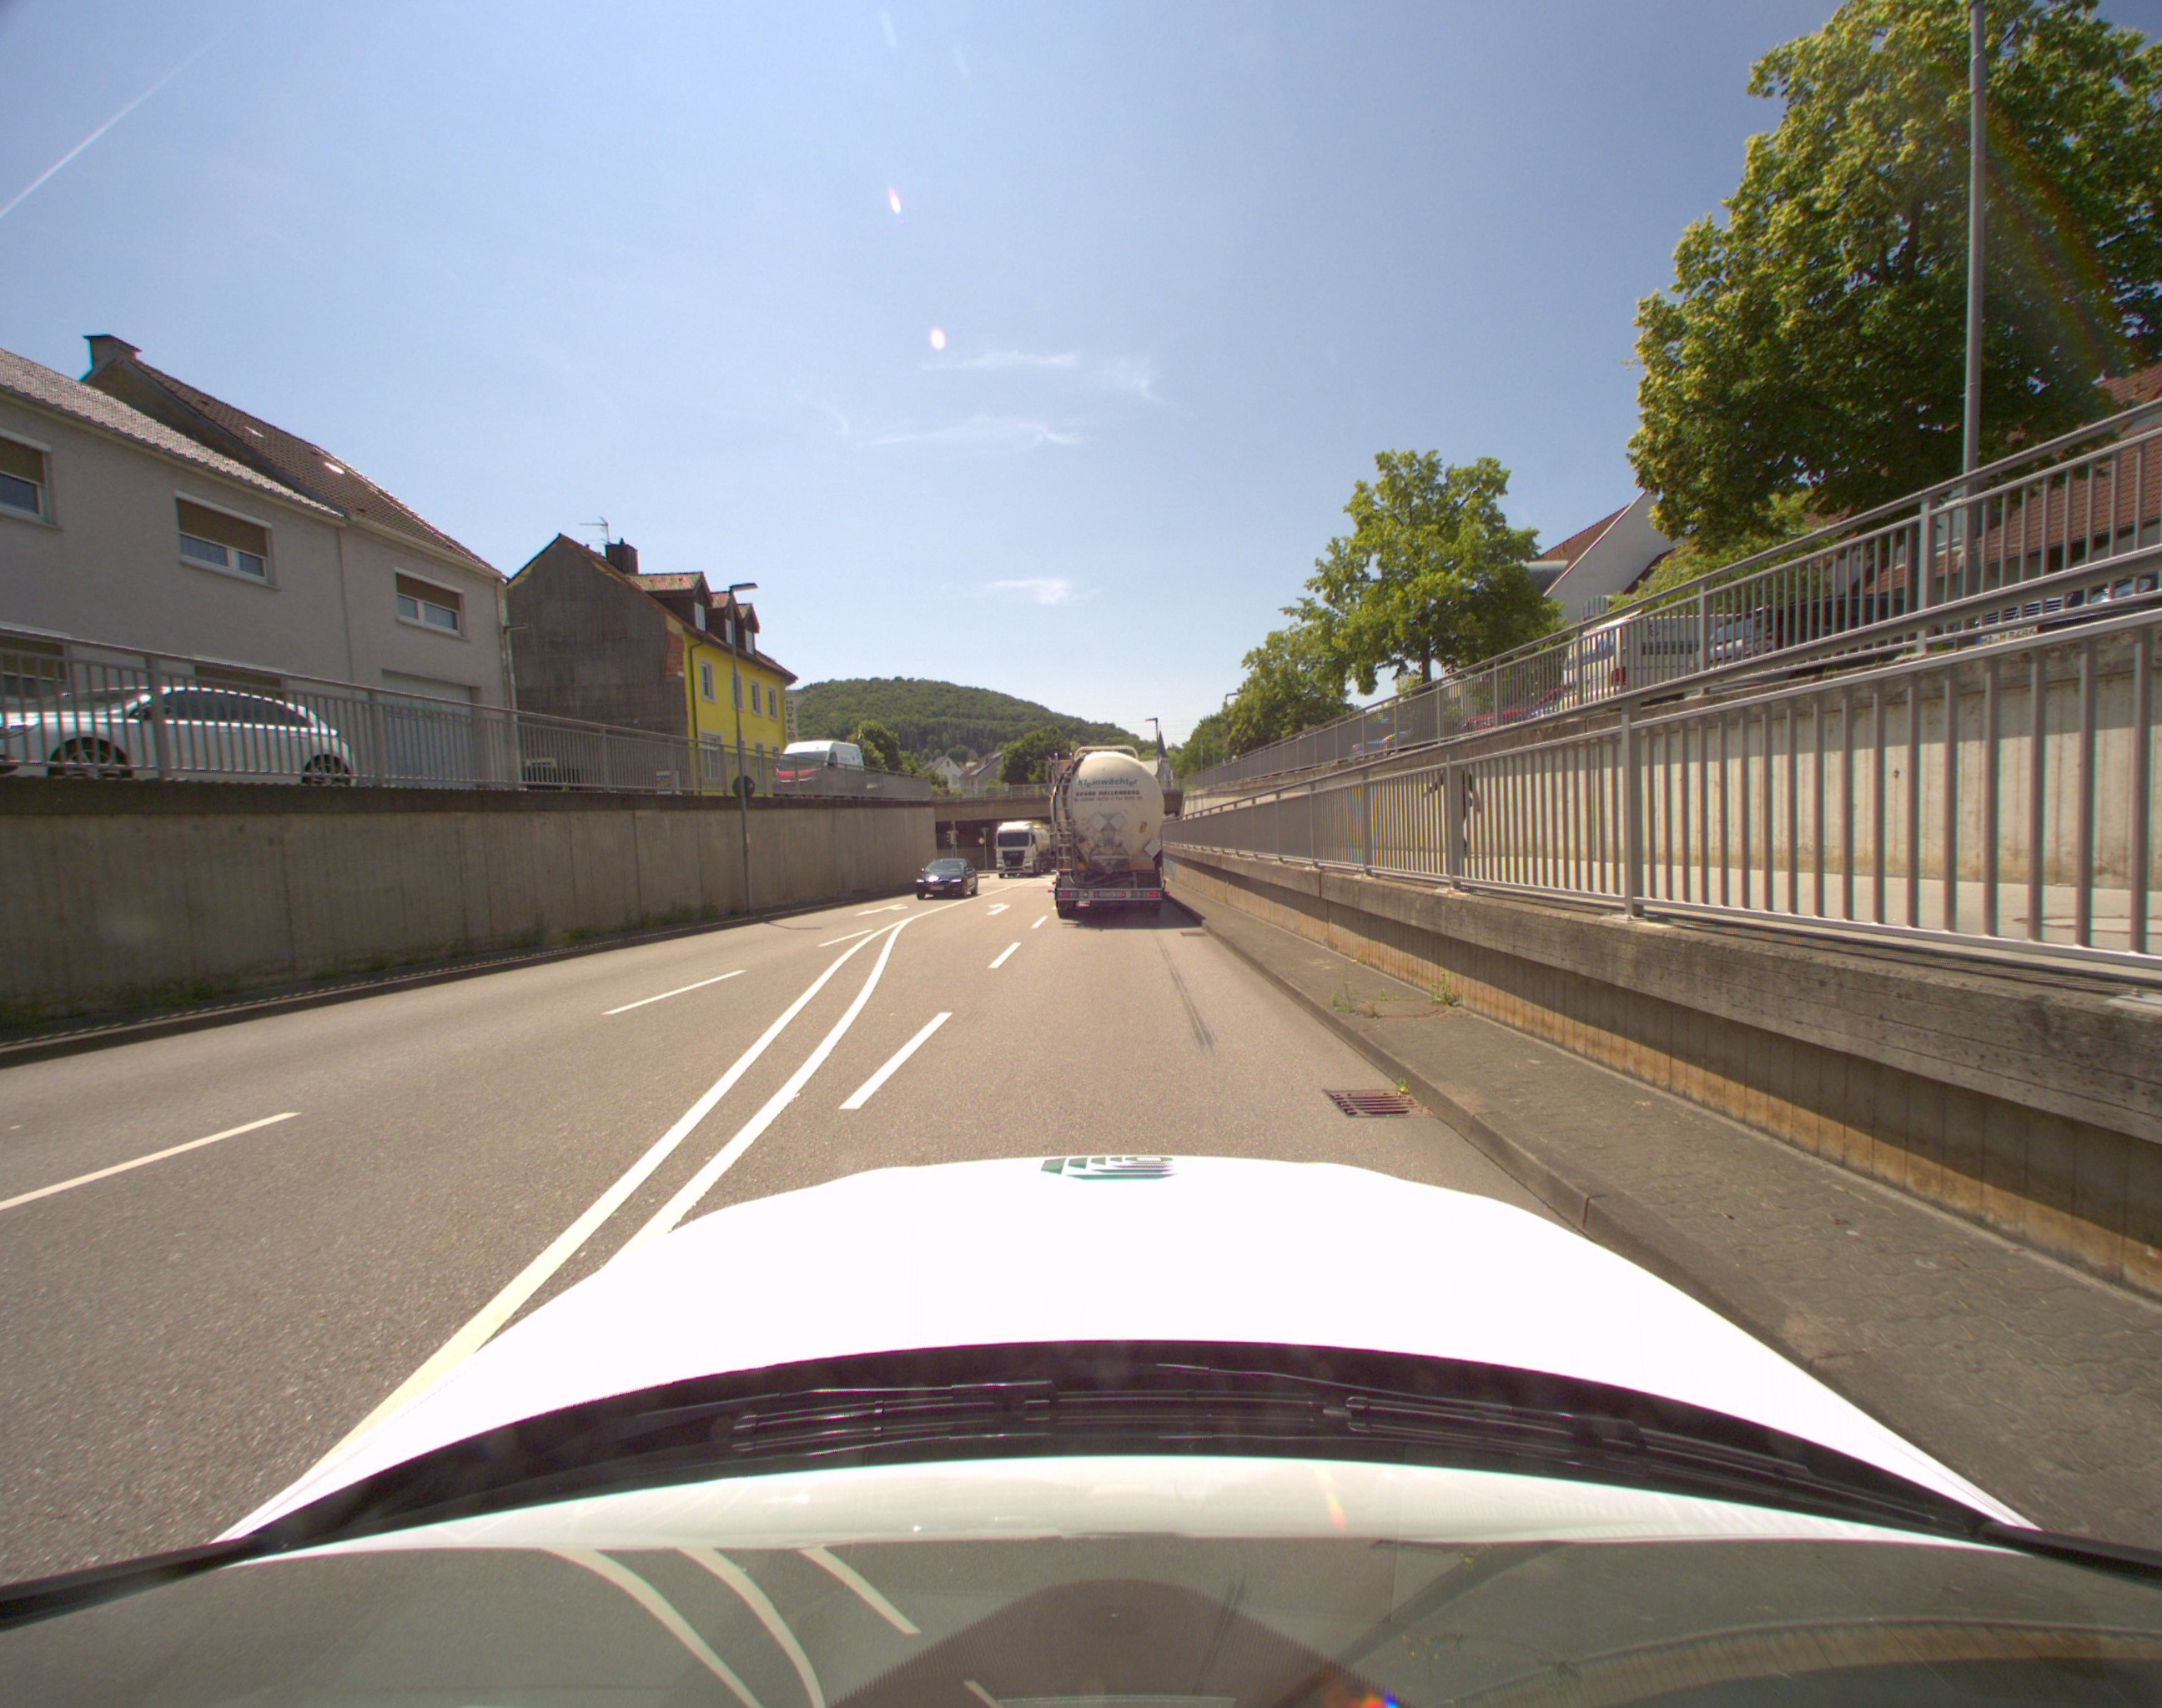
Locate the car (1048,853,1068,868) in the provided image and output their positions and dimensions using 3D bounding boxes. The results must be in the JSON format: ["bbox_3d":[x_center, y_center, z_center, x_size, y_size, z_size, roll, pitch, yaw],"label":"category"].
[{"bbox_3d":[-2.249,0.627,81.194,1.675,1.440,4.096,0,0,3],"label":"car"}]

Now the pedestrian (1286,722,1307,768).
[{"bbox_3d":[8.797,-4.456,33.266,0.670,1.779,0.595,-2,2,3],"label":"pedestrian"}]

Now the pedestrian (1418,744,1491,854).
[{"bbox_3d":[6.343,-0.912,13.864,0.833,1.782,0.789,-2,0,2],"label":"pedestrian"}]

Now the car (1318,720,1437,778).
[{"bbox_3d":[11.171,-3.946,30.835,3.890,1.884,1.688,-2,3,2],"label":"car"}]

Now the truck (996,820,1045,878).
[{"bbox_3d":[-4.258,-0.330,58.798,2.651,3.860,6.584,-1,0,3],"label":"truck"}]

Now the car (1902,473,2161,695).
[{"bbox_3d":[10.462,-2.417,7.348,4.268,1.498,1.750,-2,3,2],"label":"car"}]

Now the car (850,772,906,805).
[{"bbox_3d":[-10.083,-3.229,40.752,1.612,1.500,4.047,-1,3,2],"label":"car"}]

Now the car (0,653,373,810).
[{"bbox_3d":[-11.187,-1.270,9.657,1.808,1.462,4.308,-1,3,-2],"label":"car"}]

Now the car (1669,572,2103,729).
[{"bbox_3d":[10.760,-2.688,11.139,4.187,1.595,1.688,-2,3,2],"label":"car"}]

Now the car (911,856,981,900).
[{"bbox_3d":[-5.044,0.857,30.968,1.753,1.489,4.371,-1,0,2],"label":"car"}]

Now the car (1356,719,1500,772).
[{"bbox_3d":[10.980,-3.417,25.963,3.890,1.367,1.688,-2,3,2],"label":"car"}]

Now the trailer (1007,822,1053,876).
[{"bbox_3d":[-3.926,-0.349,64.861,2.599,3.964,9.352,-1,0,3],"label":"trailer"}]

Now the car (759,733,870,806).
[{"bbox_3d":[-10.242,-3.189,31.902,2.056,2.535,5.669,-1,3,4],"label":"car"}]

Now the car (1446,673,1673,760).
[{"bbox_3d":[10.852,-3.095,18.671,4.187,1.595,1.688,-2,3,2],"label":"car"}]

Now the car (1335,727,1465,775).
[{"bbox_3d":[11.059,-3.554,28.403,3.890,1.367,1.688,-2,3,2],"label":"car"}]

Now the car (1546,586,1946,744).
[{"bbox_3d":[10.998,-3.090,13.790,5.091,2.063,1.991,-2,3,2],"label":"car"}]

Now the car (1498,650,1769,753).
[{"bbox_3d":[10.757,-2.942,16.068,4.187,1.595,1.688,-2,3,2],"label":"car"}]

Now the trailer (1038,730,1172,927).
[{"bbox_3d":[0.814,-0.535,23.684,2.724,4.064,13.321,-1,0,3],"label":"trailer"}]
